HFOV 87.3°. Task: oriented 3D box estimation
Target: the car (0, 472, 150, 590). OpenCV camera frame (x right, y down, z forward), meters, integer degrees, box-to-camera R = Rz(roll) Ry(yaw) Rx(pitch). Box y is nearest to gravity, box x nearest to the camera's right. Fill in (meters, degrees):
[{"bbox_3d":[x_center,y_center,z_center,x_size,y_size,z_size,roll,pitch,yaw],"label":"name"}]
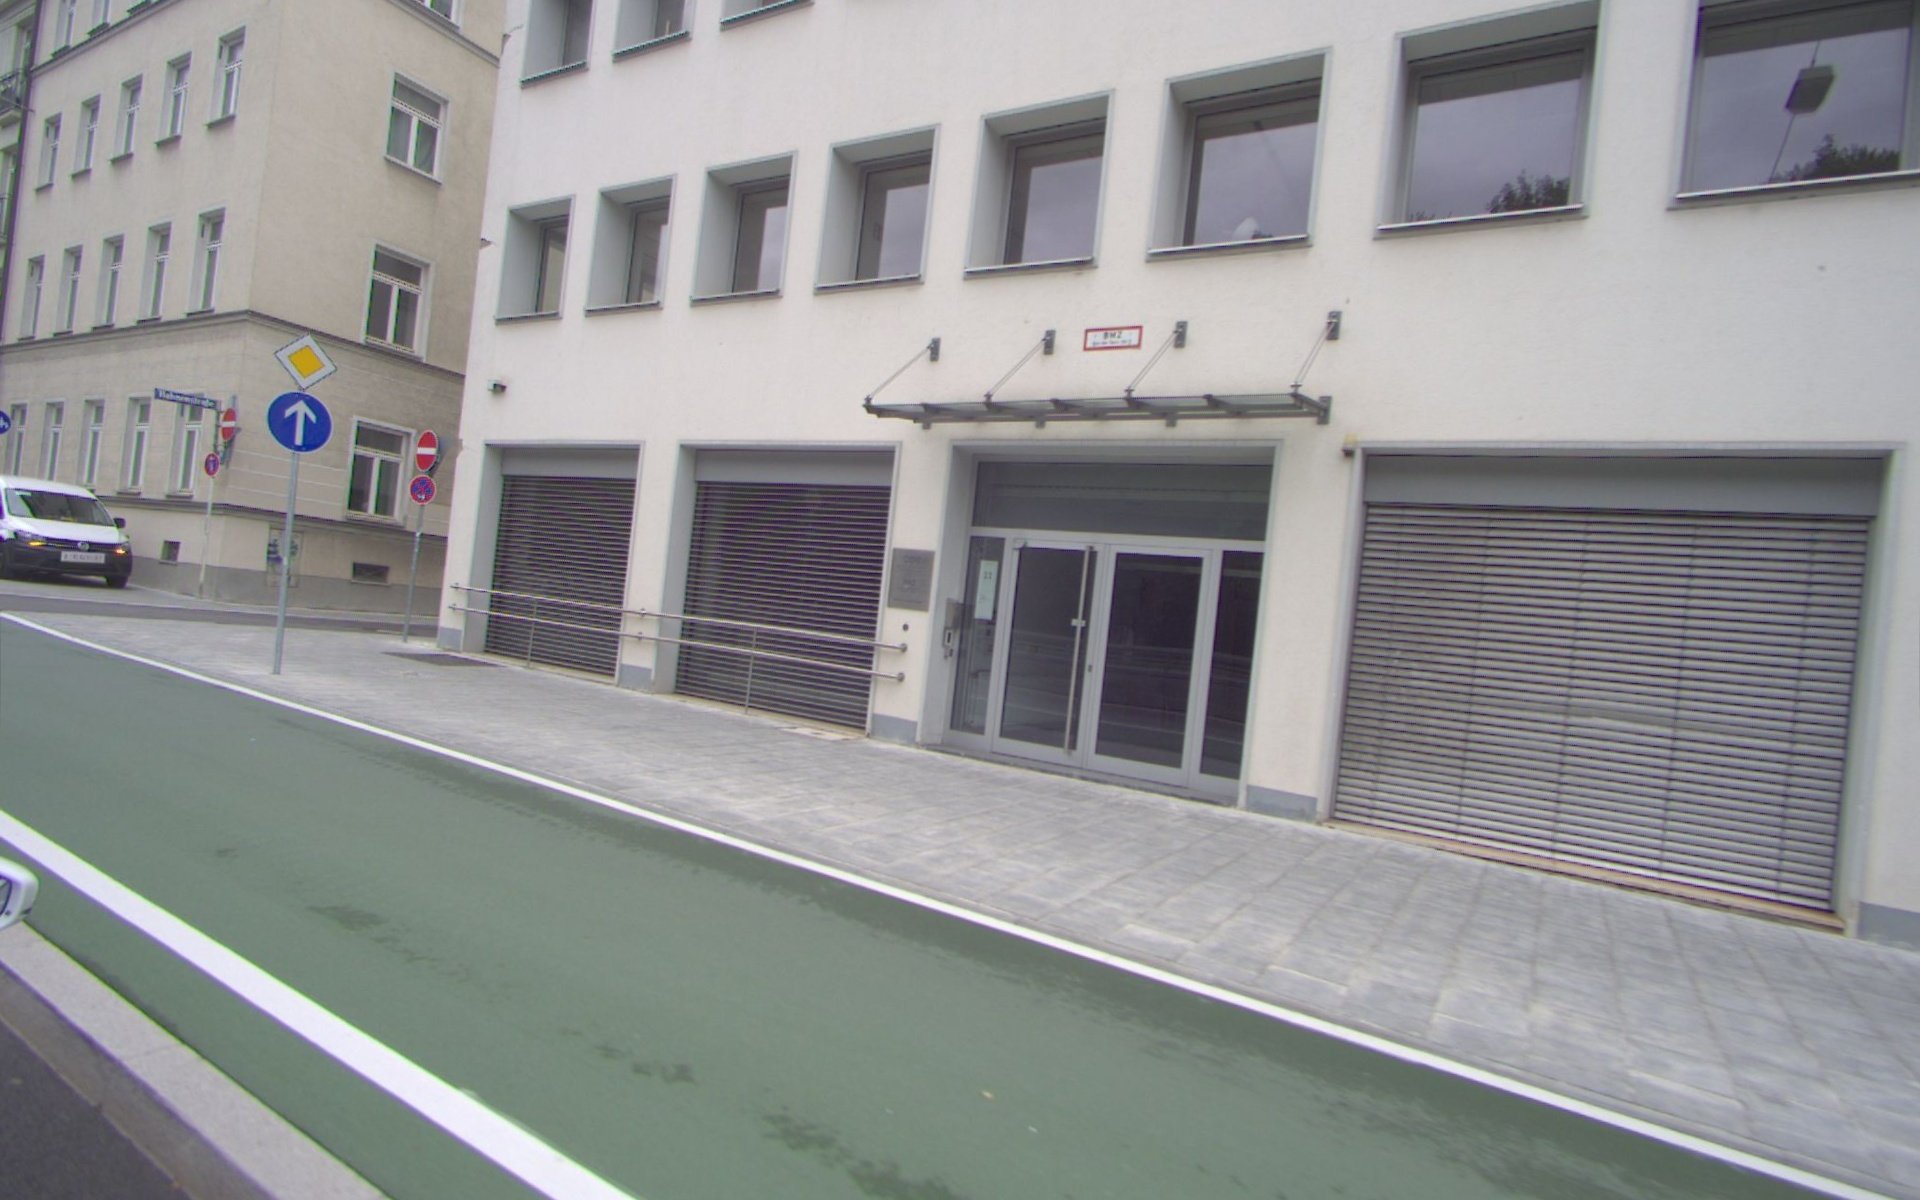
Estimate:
[{"bbox_3d":[-16.853,-1.321,18.390,4.362,1.771,1.735,6,0,32],"label":"car"}]
